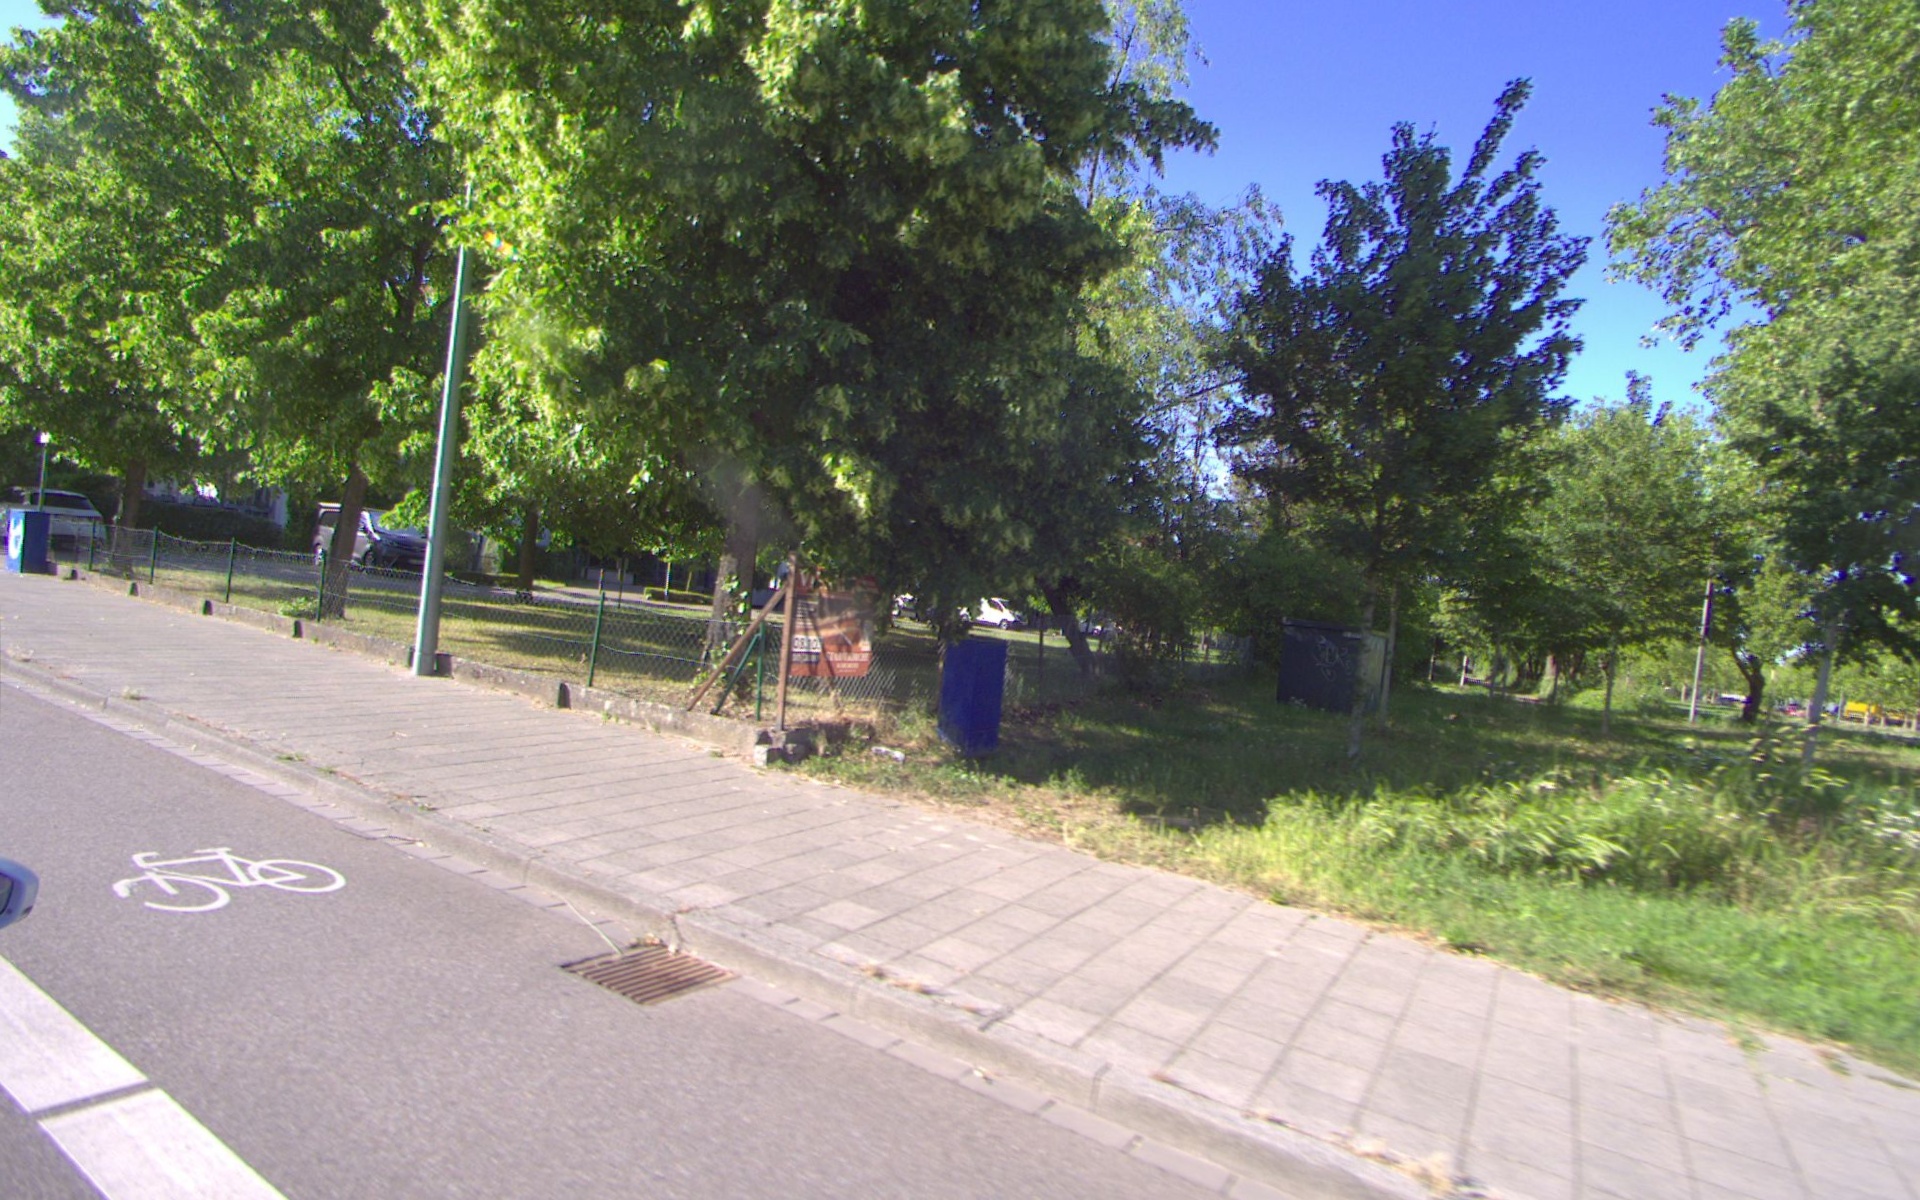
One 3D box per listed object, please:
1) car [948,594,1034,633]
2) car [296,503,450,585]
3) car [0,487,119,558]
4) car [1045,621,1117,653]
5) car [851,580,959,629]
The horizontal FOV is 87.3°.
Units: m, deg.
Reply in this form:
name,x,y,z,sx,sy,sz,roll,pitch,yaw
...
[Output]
name,x,y,z,sx,sy,sz,roll,pitch,yaw
car,1.981,0.881,65.036,5.190,1.890,1.874,6,0,33
car,-18.199,-1.761,31.118,5.082,1.990,1.874,6,0,33
car,-22.506,-1.942,24.558,3.804,1.404,1.776,6,1,30
car,9.170,2.803,76.636,4.998,1.750,1.874,6,-1,33
car,-3.119,0.227,56.102,5.776,2.064,2.020,6,0,33
